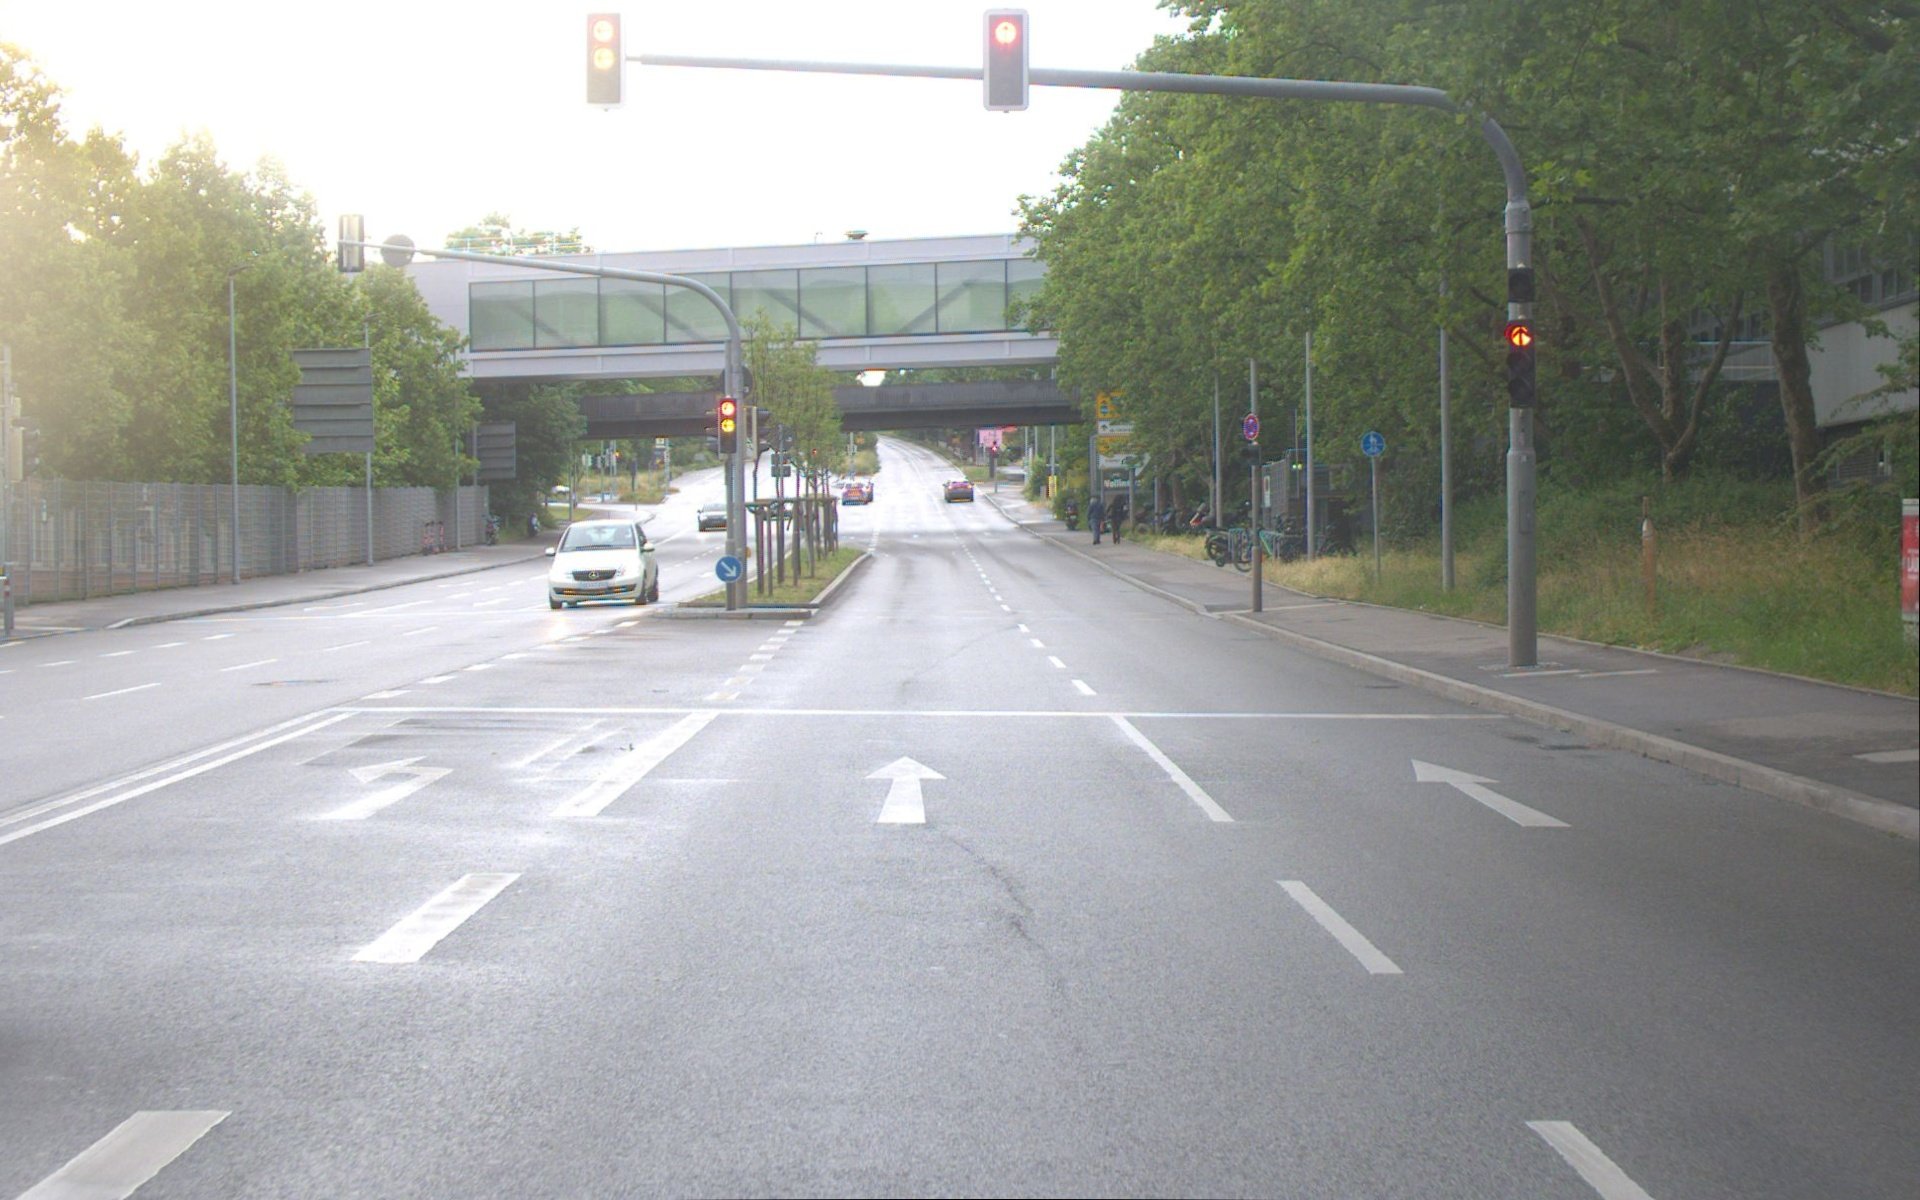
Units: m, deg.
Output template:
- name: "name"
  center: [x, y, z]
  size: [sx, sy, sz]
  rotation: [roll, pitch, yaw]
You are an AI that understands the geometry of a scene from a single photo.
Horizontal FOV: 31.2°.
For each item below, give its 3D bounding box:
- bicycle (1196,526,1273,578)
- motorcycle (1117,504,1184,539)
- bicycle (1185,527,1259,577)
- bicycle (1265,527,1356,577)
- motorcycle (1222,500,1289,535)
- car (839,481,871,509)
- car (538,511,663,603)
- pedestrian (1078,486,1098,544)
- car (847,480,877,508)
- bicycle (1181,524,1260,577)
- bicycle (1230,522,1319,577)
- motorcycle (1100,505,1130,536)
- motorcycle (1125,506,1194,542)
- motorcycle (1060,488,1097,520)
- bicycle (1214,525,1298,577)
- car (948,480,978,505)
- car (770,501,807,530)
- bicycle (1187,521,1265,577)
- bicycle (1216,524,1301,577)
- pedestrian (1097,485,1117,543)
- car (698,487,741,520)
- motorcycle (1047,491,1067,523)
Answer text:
- name: "bicycle"
  center: [7.369, -1.291, 92.311]
  size: [1.990, 1.324, 0.576]
  rotation: [2, 0, 1]
- name: "motorcycle"
  center: [6.947, -2.864, 125.431]
  size: [2.369, 1.198, 0.722]
  rotation: [-1, 1, 8]
- name: "bicycle"
  center: [7.180, -1.306, 94.262]
  size: [1.960, 1.324, 0.576]
  rotation: [2, 0, 1]
- name: "bicycle"
  center: [7.986, -1.085, 78.318]
  size: [1.990, 1.091, 0.541]
  rotation: [2, 0, 1]
- name: "motorcycle"
  center: [10.770, -3.000, 125.205]
  size: [2.369, 1.198, 0.722]
  rotation: [-1, 1, 8]
- name: "car"
  center: [-7.045, -7.031, 230.752]
  size: [1.993, 1.756, 4.000]
  rotation: [2, 0, 0]
- name: "car"
  center: [-6.648, -0.816, 63.960]
  size: [1.877, 1.619, 3.779]
  rotation: [-1, 1, 0]
- name: "pedestrian"
  center: [4.488, -2.978, 120.413]
  size: [0.622, 2.007, 0.605]
  rotation: [-2, 1, 0]
- name: "car"
  center: [-6.705, -7.265, 236.241]
  size: [1.884, 1.756, 3.969]
  rotation: [2, 0, 0]
- name: "bicycle"
  center: [6.797, -1.281, 89.786]
  size: [1.990, 1.324, 0.576]
  rotation: [2, 0, 1]
- name: "bicycle"
  center: [7.304, -1.171, 79.784]
  size: [1.990, 1.212, 0.541]
  rotation: [2, 0, 1]
- name: "motorcycle"
  center: [6.515, -3.332, 144.322]
  size: [0.790, 1.307, 2.377]
  rotation: [-2, 1, -8]
- name: "motorcycle"
  center: [7.091, -2.701, 122.093]
  size: [2.369, 1.198, 0.722]
  rotation: [-1, 1, 8]
- name: "motorcycle"
  center: [5.154, -4.161, 149.378]
  size: [0.790, 1.307, 2.377]
  rotation: [-2, 1, -18]
- name: "bicycle"
  center: [7.285, -1.210, 84.743]
  size: [1.990, 1.237, 0.541]
  rotation: [2, 0, 1]
- name: "car"
  center: [0.212, -7.089, 226.870]
  size: [1.875, 1.492, 4.068]
  rotation: [2, 0, 0]
- name: "car"
  center: [-9.815, -4.833, 197.301]
  size: [1.877, 1.619, 3.779]
  rotation: [-1, 1, 0]
- name: "bicycle"
  center: [7.069, -1.345, 91.460]
  size: [1.990, 1.425, 0.723]
  rotation: [2, 0, 1]
- name: "bicycle"
  center: [7.275, -1.206, 83.879]
  size: [1.990, 1.237, 0.541]
  rotation: [2, 0, 1]
- name: "pedestrian"
  center: [5.152, -3.012, 120.239]
  size: [0.622, 2.007, 0.605]
  rotation: [-2, 1, 0]
- name: "car"
  center: [-12.286, -4.934, 176.031]
  size: [1.877, 1.619, 3.779]
  rotation: [-1, 1, 0]
- name: "motorcycle"
  center: [4.759, -4.575, 168.672]
  size: [0.790, 1.528, 2.377]
  rotation: [-2, 1, -1]
